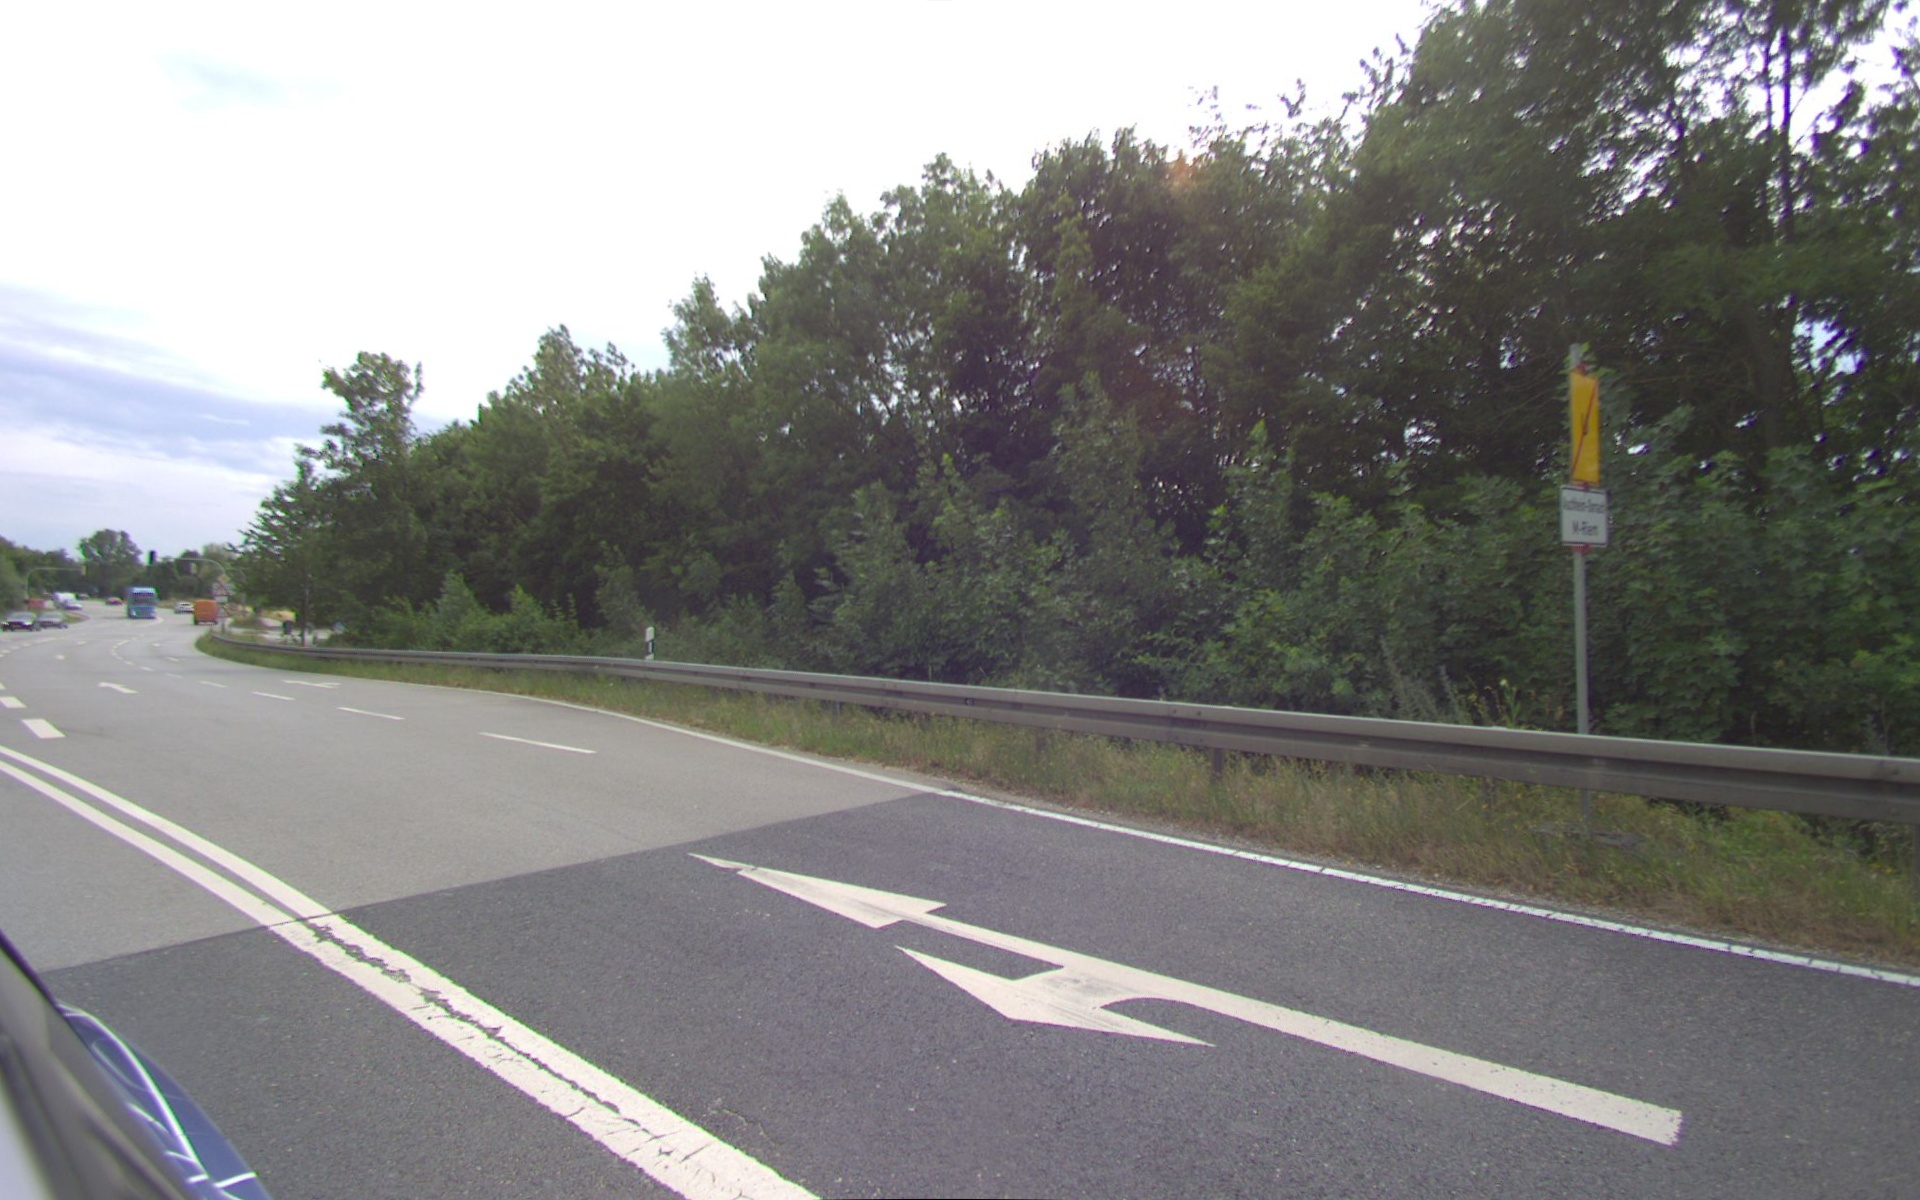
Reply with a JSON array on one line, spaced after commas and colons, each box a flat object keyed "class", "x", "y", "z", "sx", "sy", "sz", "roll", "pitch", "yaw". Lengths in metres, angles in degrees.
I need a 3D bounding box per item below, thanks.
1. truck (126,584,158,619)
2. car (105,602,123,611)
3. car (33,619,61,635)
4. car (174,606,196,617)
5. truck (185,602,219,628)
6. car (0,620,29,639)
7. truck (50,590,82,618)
[{"class": "truck", "x": -107.905, "y": 0.260, "z": 133.560, "sx": 2.981, "sy": 4.383, "sz": 9.588, "roll": 4, "pitch": -3, "yaw": -39}, {"class": "car", "x": -156.875, "y": 1.138, "z": 187.621, "sx": 4.195, "sy": 1.497, "sz": 1.723, "roll": 1, "pitch": -2, "yaw": 38}, {"class": "car", "x": -82.295, "y": 2.458, "z": 91.257, "sx": 1.718, "sy": 1.335, "sz": 4.006, "roll": 6, "pitch": -5, "yaw": -41}, {"class": "car", "x": -119.655, "y": 1.756, "z": 156.253, "sx": 3.999, "sy": 1.582, "sz": 1.895, "roll": 0, "pitch": -3, "yaw": 42}, {"class": "truck", "x": -81.306, "y": 1.575, "z": 108.580, "sx": 2.284, "sy": 2.621, "sz": 6.040, "roll": 4, "pitch": -3, "yaw": -32}, {"class": "car", "x": -74.715, "y": 2.315, "z": 79.677, "sx": 1.717, "sy": 1.335, "sz": 4.008, "roll": 6, "pitch": -5, "yaw": -38}, {"class": "truck", "x": -145.188, "y": 0.665, "z": 164.244, "sx": 9.574, "sy": 4.383, "sz": 2.985, "roll": 0, "pitch": -3, "yaw": 44}]
